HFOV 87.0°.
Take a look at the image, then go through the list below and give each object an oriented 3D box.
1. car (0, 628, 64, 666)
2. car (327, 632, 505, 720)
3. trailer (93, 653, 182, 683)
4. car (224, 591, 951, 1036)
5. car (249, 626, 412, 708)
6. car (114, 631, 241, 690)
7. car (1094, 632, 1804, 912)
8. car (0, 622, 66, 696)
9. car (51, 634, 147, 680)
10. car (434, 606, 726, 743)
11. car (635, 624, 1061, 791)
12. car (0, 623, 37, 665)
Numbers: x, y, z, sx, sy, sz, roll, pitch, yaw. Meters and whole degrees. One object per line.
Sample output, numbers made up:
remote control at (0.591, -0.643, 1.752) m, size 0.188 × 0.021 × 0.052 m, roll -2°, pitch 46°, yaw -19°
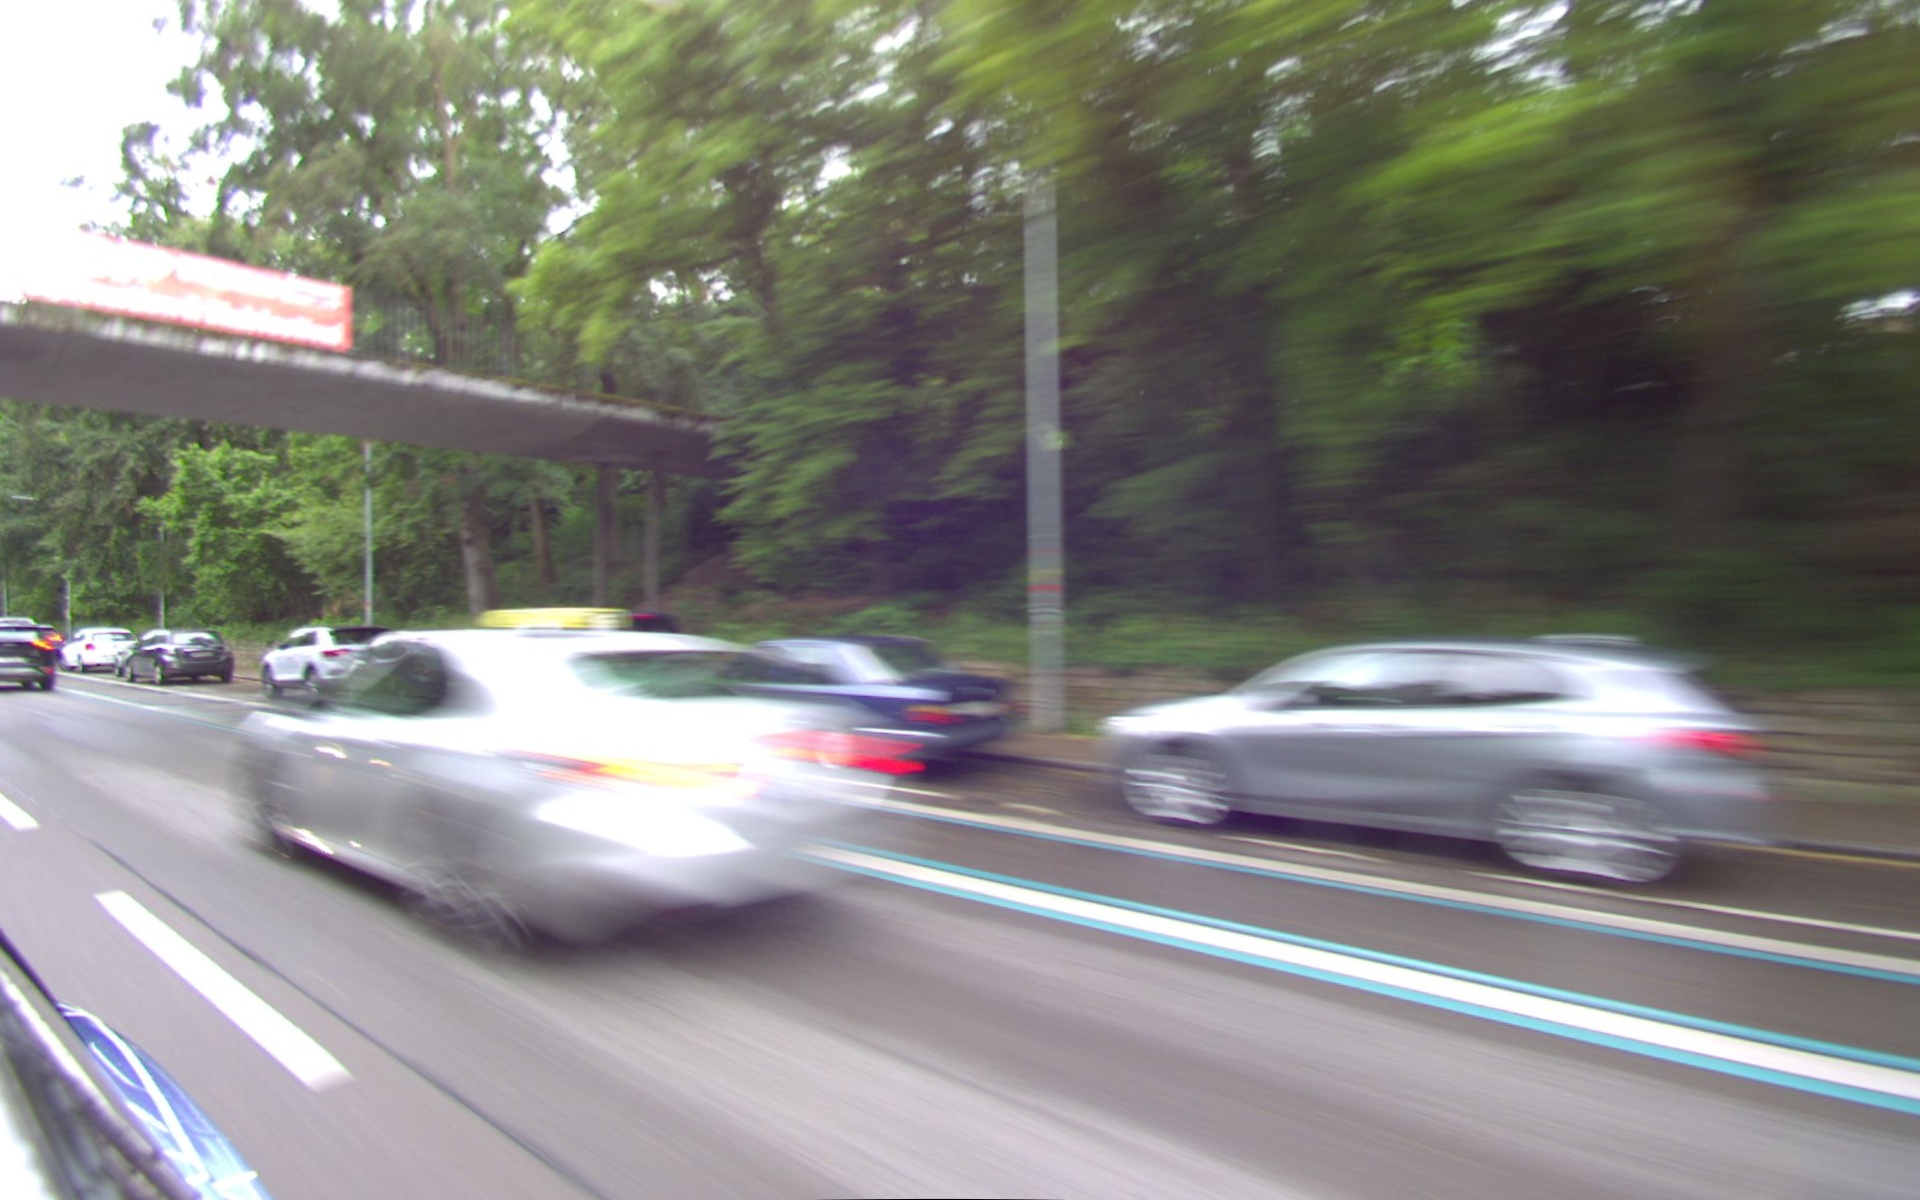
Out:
car at (-42.335, 2.129, 45.778) m, size 4.774 × 1.618 × 1.990 m, roll -2°, pitch -3°, yaw 39°
car at (-10.033, 1.336, 18.569) m, size 3.840 × 1.450 × 1.593 m, roll -2°, pitch -3°, yaw 40°
trailer at (-26.009, 2.122, 31.973) m, size 3.301 × 0.825 × 1.528 m, roll -2°, pitch -2°, yaw 39°
car at (-2.413, 0.827, 5.834) m, size 4.617 × 1.572 × 1.901 m, roll -1°, pitch -3°, yaw 40°
car at (-13.387, 1.371, 21.430) m, size 4.228 × 1.558 × 1.671 m, roll -2°, pitch -3°, yaw 39°
car at (-21.690, 1.638, 28.017) m, size 4.034 × 1.488 × 1.814 m, roll -2°, pitch -2°, yaw 37°
car at (3.273, 0.977, 7.320) m, size 4.292 × 1.434 × 1.766 m, roll -2°, pitch -3°, yaw 40°
car at (-23.017, 1.371, 24.041) m, size 4.315 × 1.640 × 1.946 m, roll -2°, pitch -3°, yaw 39°
car at (-29.689, 1.941, 34.882) m, size 3.977 × 1.493 × 1.772 m, roll -2°, pitch -3°, yaw 38°
car at (-5.835, 1.045, 15.245) m, size 4.833 × 1.755 × 1.970 m, roll -2°, pitch -3°, yaw 39°
car at (-1.445, 1.069, 11.542) m, size 4.892 × 1.484 × 1.964 m, roll -2°, pitch -2°, yaw 39°
car at (-49.237, 2.261, 51.831) m, size 5.008 × 2.020 × 1.956 m, roll -2°, pitch -1°, yaw 36°
